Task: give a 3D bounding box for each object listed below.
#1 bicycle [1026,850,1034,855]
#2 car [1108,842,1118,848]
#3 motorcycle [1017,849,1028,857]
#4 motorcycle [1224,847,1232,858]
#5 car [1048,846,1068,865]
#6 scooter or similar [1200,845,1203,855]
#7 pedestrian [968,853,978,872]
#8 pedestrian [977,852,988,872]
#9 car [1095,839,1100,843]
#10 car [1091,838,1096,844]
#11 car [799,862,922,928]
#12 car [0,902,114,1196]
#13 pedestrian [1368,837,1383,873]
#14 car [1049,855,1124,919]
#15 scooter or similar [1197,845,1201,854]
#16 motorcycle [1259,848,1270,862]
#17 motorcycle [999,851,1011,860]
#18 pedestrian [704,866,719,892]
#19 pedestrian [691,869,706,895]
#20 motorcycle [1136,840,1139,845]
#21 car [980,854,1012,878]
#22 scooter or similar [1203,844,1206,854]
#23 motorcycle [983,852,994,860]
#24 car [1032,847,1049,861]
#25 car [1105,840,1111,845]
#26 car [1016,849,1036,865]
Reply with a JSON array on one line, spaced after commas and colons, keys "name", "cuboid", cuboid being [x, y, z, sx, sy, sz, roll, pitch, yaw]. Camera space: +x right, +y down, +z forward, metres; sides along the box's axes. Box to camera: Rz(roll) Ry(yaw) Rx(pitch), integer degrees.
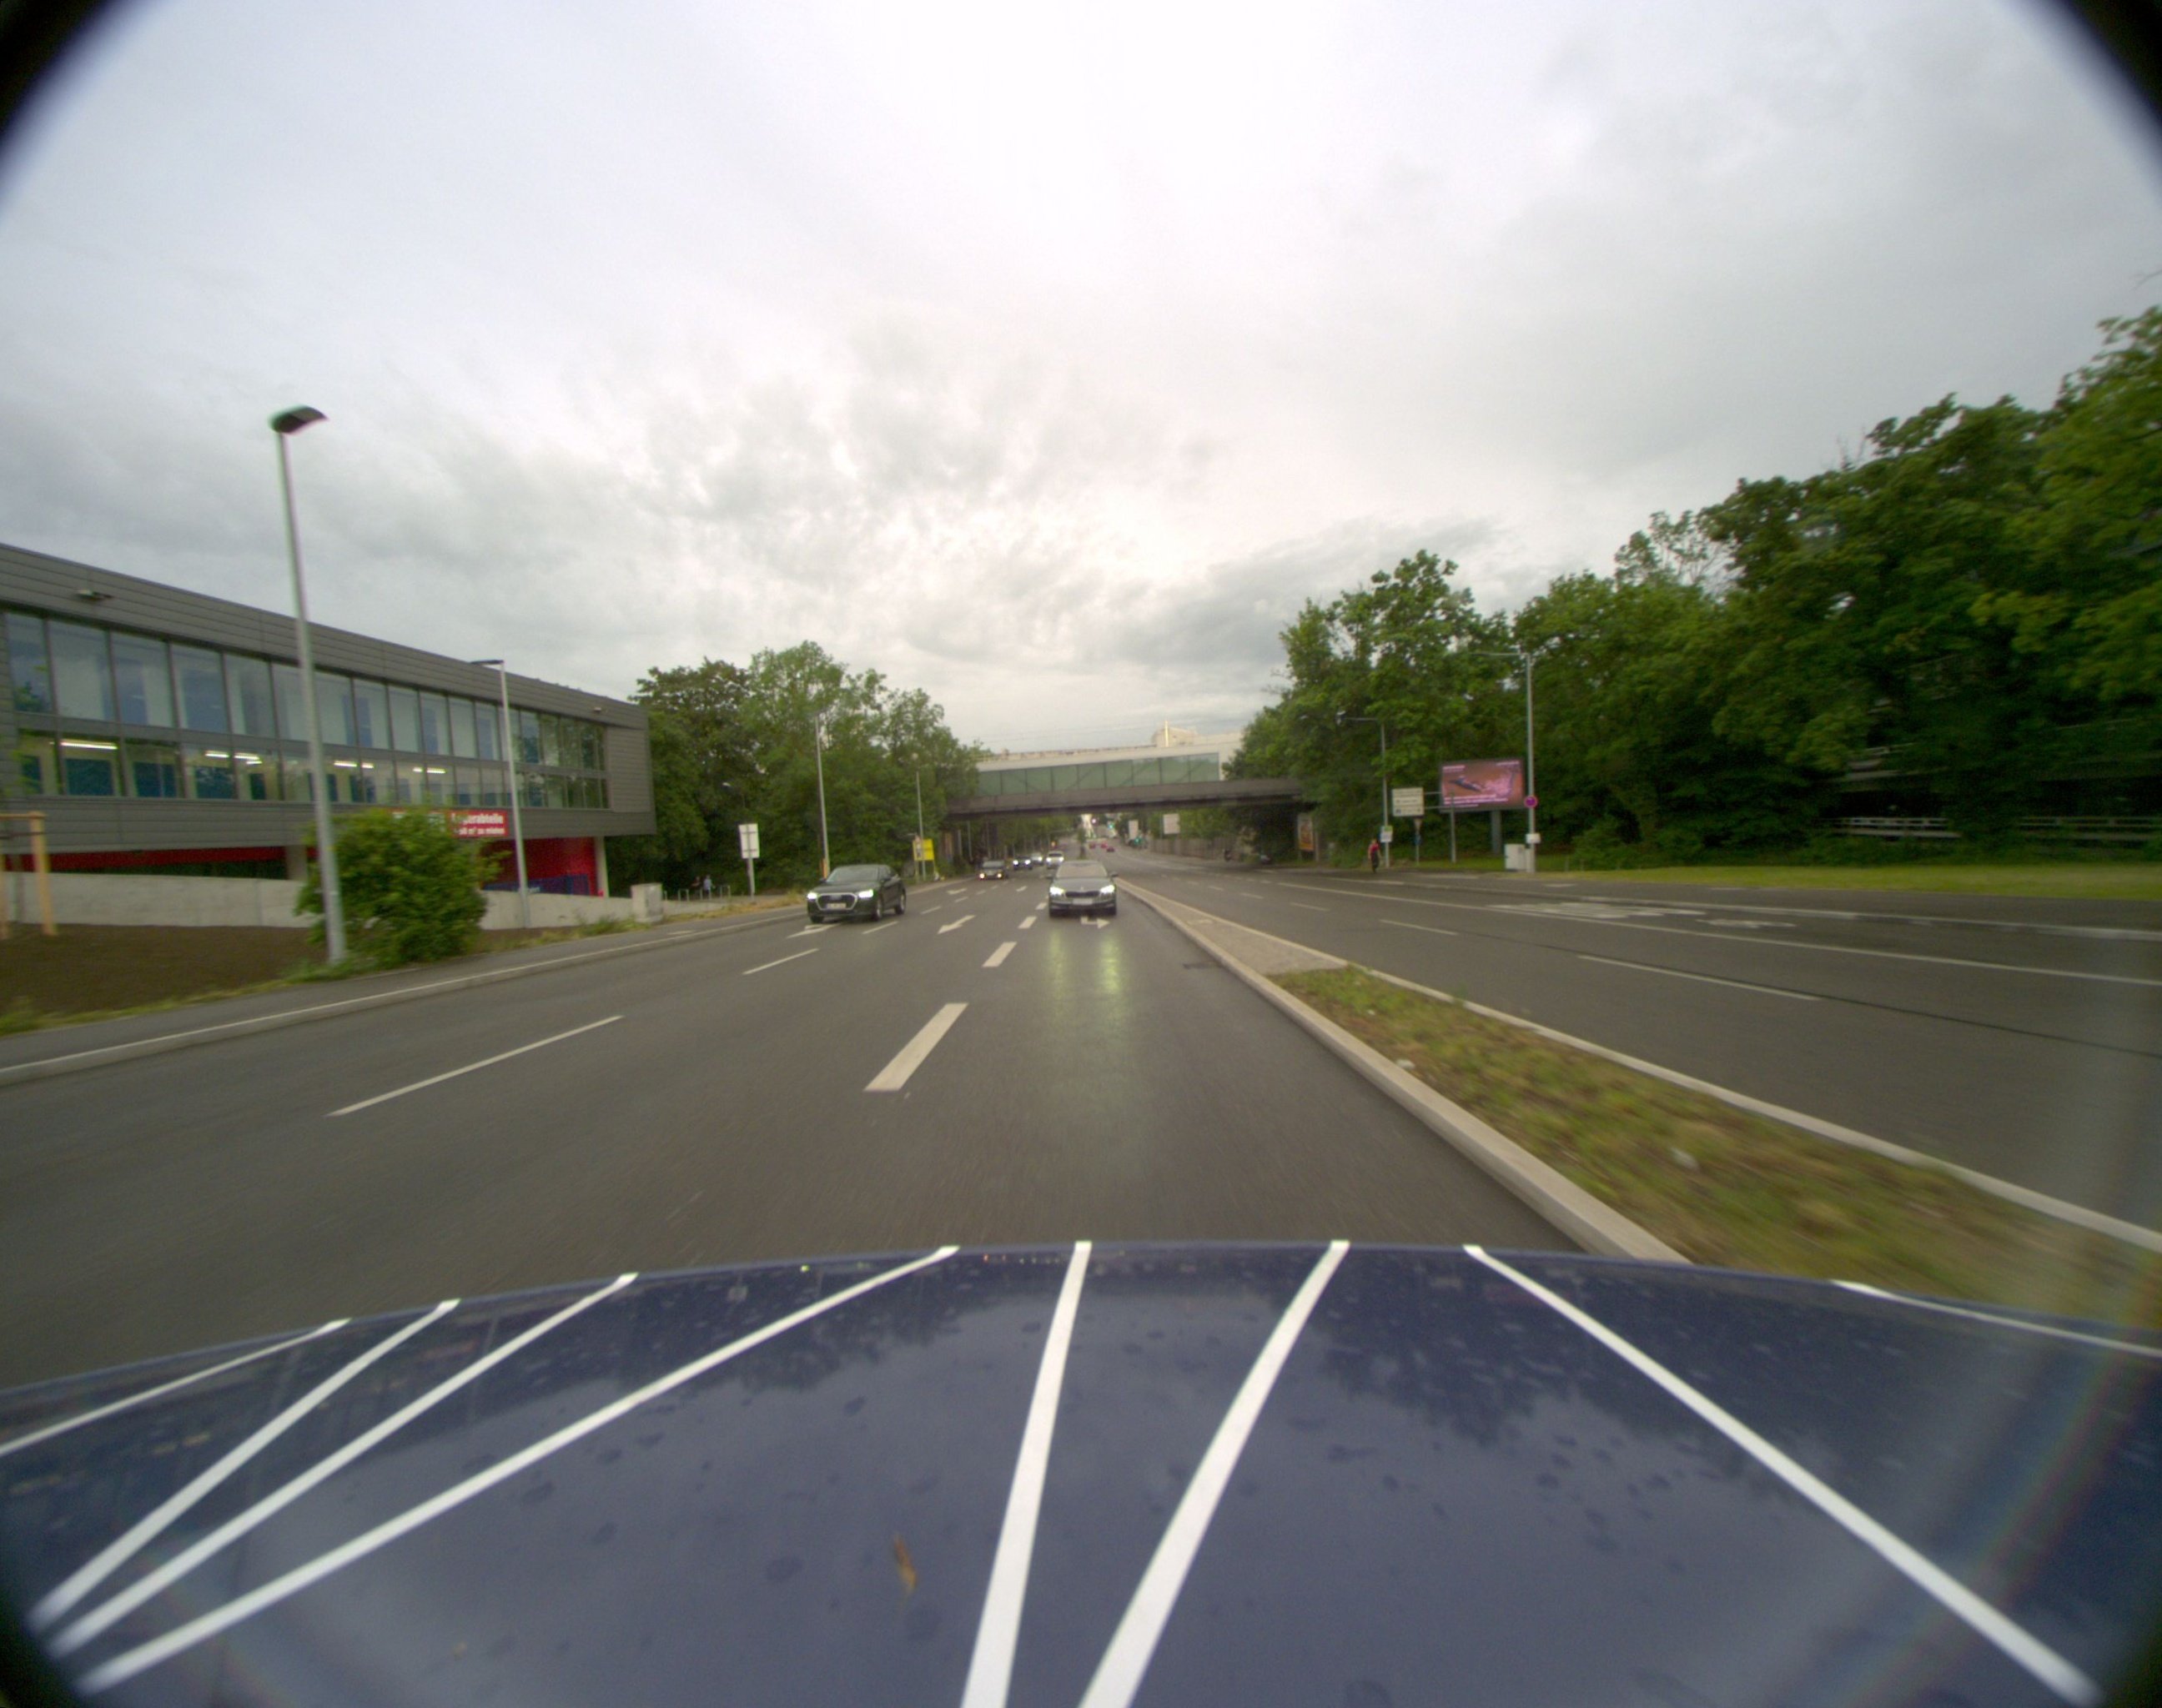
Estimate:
[{"name": "bicycle", "cuboid": [-9.985, -0.313, 149.314, 1.555, 0.999, 0.393, -2, 2, 0]}, {"name": "car", "cuboid": [7.948, -2.345, 189.023, 2.069, 1.354, 4.755, -2, 1, -1]}, {"name": "motorcycle", "cuboid": [-10.584, -0.165, 137.629, 2.012, 1.266, 0.442, -2, 2, 13]}, {"name": "motorcycle", "cuboid": [15.532, -0.180, 80.248, 0.470, 1.198, 1.996, -2, 1, 0]}, {"name": "car", "cuboid": [-2.537, 0.129, 84.578, 2.035, 1.920, 4.331, -3, 2, 0]}, {"name": "scooter or similar", "cuboid": [15.679, -0.537, 98.593, 0.312, 1.211, 1.309, -2, 1, 12]}, {"name": "pedestrian", "cuboid": [-9.350, 0.765, 65.961, 0.651, 1.587, 0.579, -2, 2, 12]}, {"name": "pedestrian", "cuboid": [-8.564, 0.671, 65.905, 0.612, 1.711, 0.892, -2, 2, 10]}, {"name": "car", "cuboid": [5.501, -4.425, 257.509, 1.777, 1.396, 4.613, -2, 2, 1]}, {"name": "car", "cuboid": [4.111, -4.200, 244.670, 1.589, 1.596, 3.854, -1, 2, 0]}, {"name": "car", "cuboid": [-6.160, 1.072, 21.986, 1.820, 1.536, 5.608, -2, 0, 0]}, {"name": "car", "cuboid": [-6.436, 1.135, 1.976, 1.749, 1.462, 4.639, -4, 2, 0]}, {"name": "pedestrian", "cuboid": [15.103, 0.030, 38.955, 0.520, 1.805, 0.800, -3, 1, 10]}, {"name": "car", "cuboid": [0.153, 0.832, 21.151, 1.820, 1.536, 4.063, -2, 0, 0]}, {"name": "scooter or similar", "cuboid": [15.710, -0.587, 101.093, 0.312, 1.211, 1.307, -2, 1, 1]}, {"name": "motorcycle", "cuboid": [15.327, 0.051, 63.495, 0.469, 1.152, 1.932, -2, 1, 4]}, {"name": "motorcycle", "cuboid": [-11.796, 0.220, 117.943, 1.656, 1.144, 0.493, -4, 2, 9]}, {"name": "pedestrian", "cuboid": [-26.395, 1.814, 54.273, 0.585, 1.805, 0.602, -3, 1, 29]}, {"name": "pedestrian", "cuboid": [-26.890, 1.976, 53.384, 0.585, 1.805, 0.626, -3, 1, 29]}, {"name": "motorcycle", "cuboid": [15.506, -3.153, 210.020, 0.569, 1.156, 2.038, -2, 2, -1]}, {"name": "car", "cuboid": [-6.232, 0.866, 56.218, 1.749, 1.422, 4.515, -4, 2, 0]}, {"name": "scooter or similar", "cuboid": [15.645, -0.640, 96.169, 0.312, 1.211, 1.308, -2, 1, 5]}, {"name": "motorcycle", "cuboid": [-14.970, 0.368, 123.073, 1.641, 1.139, 0.560, -4, 2, 11]}, {"name": "car", "cuboid": [-5.262, -0.010, 99.543, 1.820, 1.571, 4.331, -3, 2, 0]}, {"name": "car", "cuboid": [8.502, -3.754, 242.926, 1.720, 1.429, 3.770, -1, 2, -1]}, {"name": "car", "cuboid": [-5.959, 0.301, 82.811, 1.825, 1.581, 4.331, -3, 2, 0]}]
